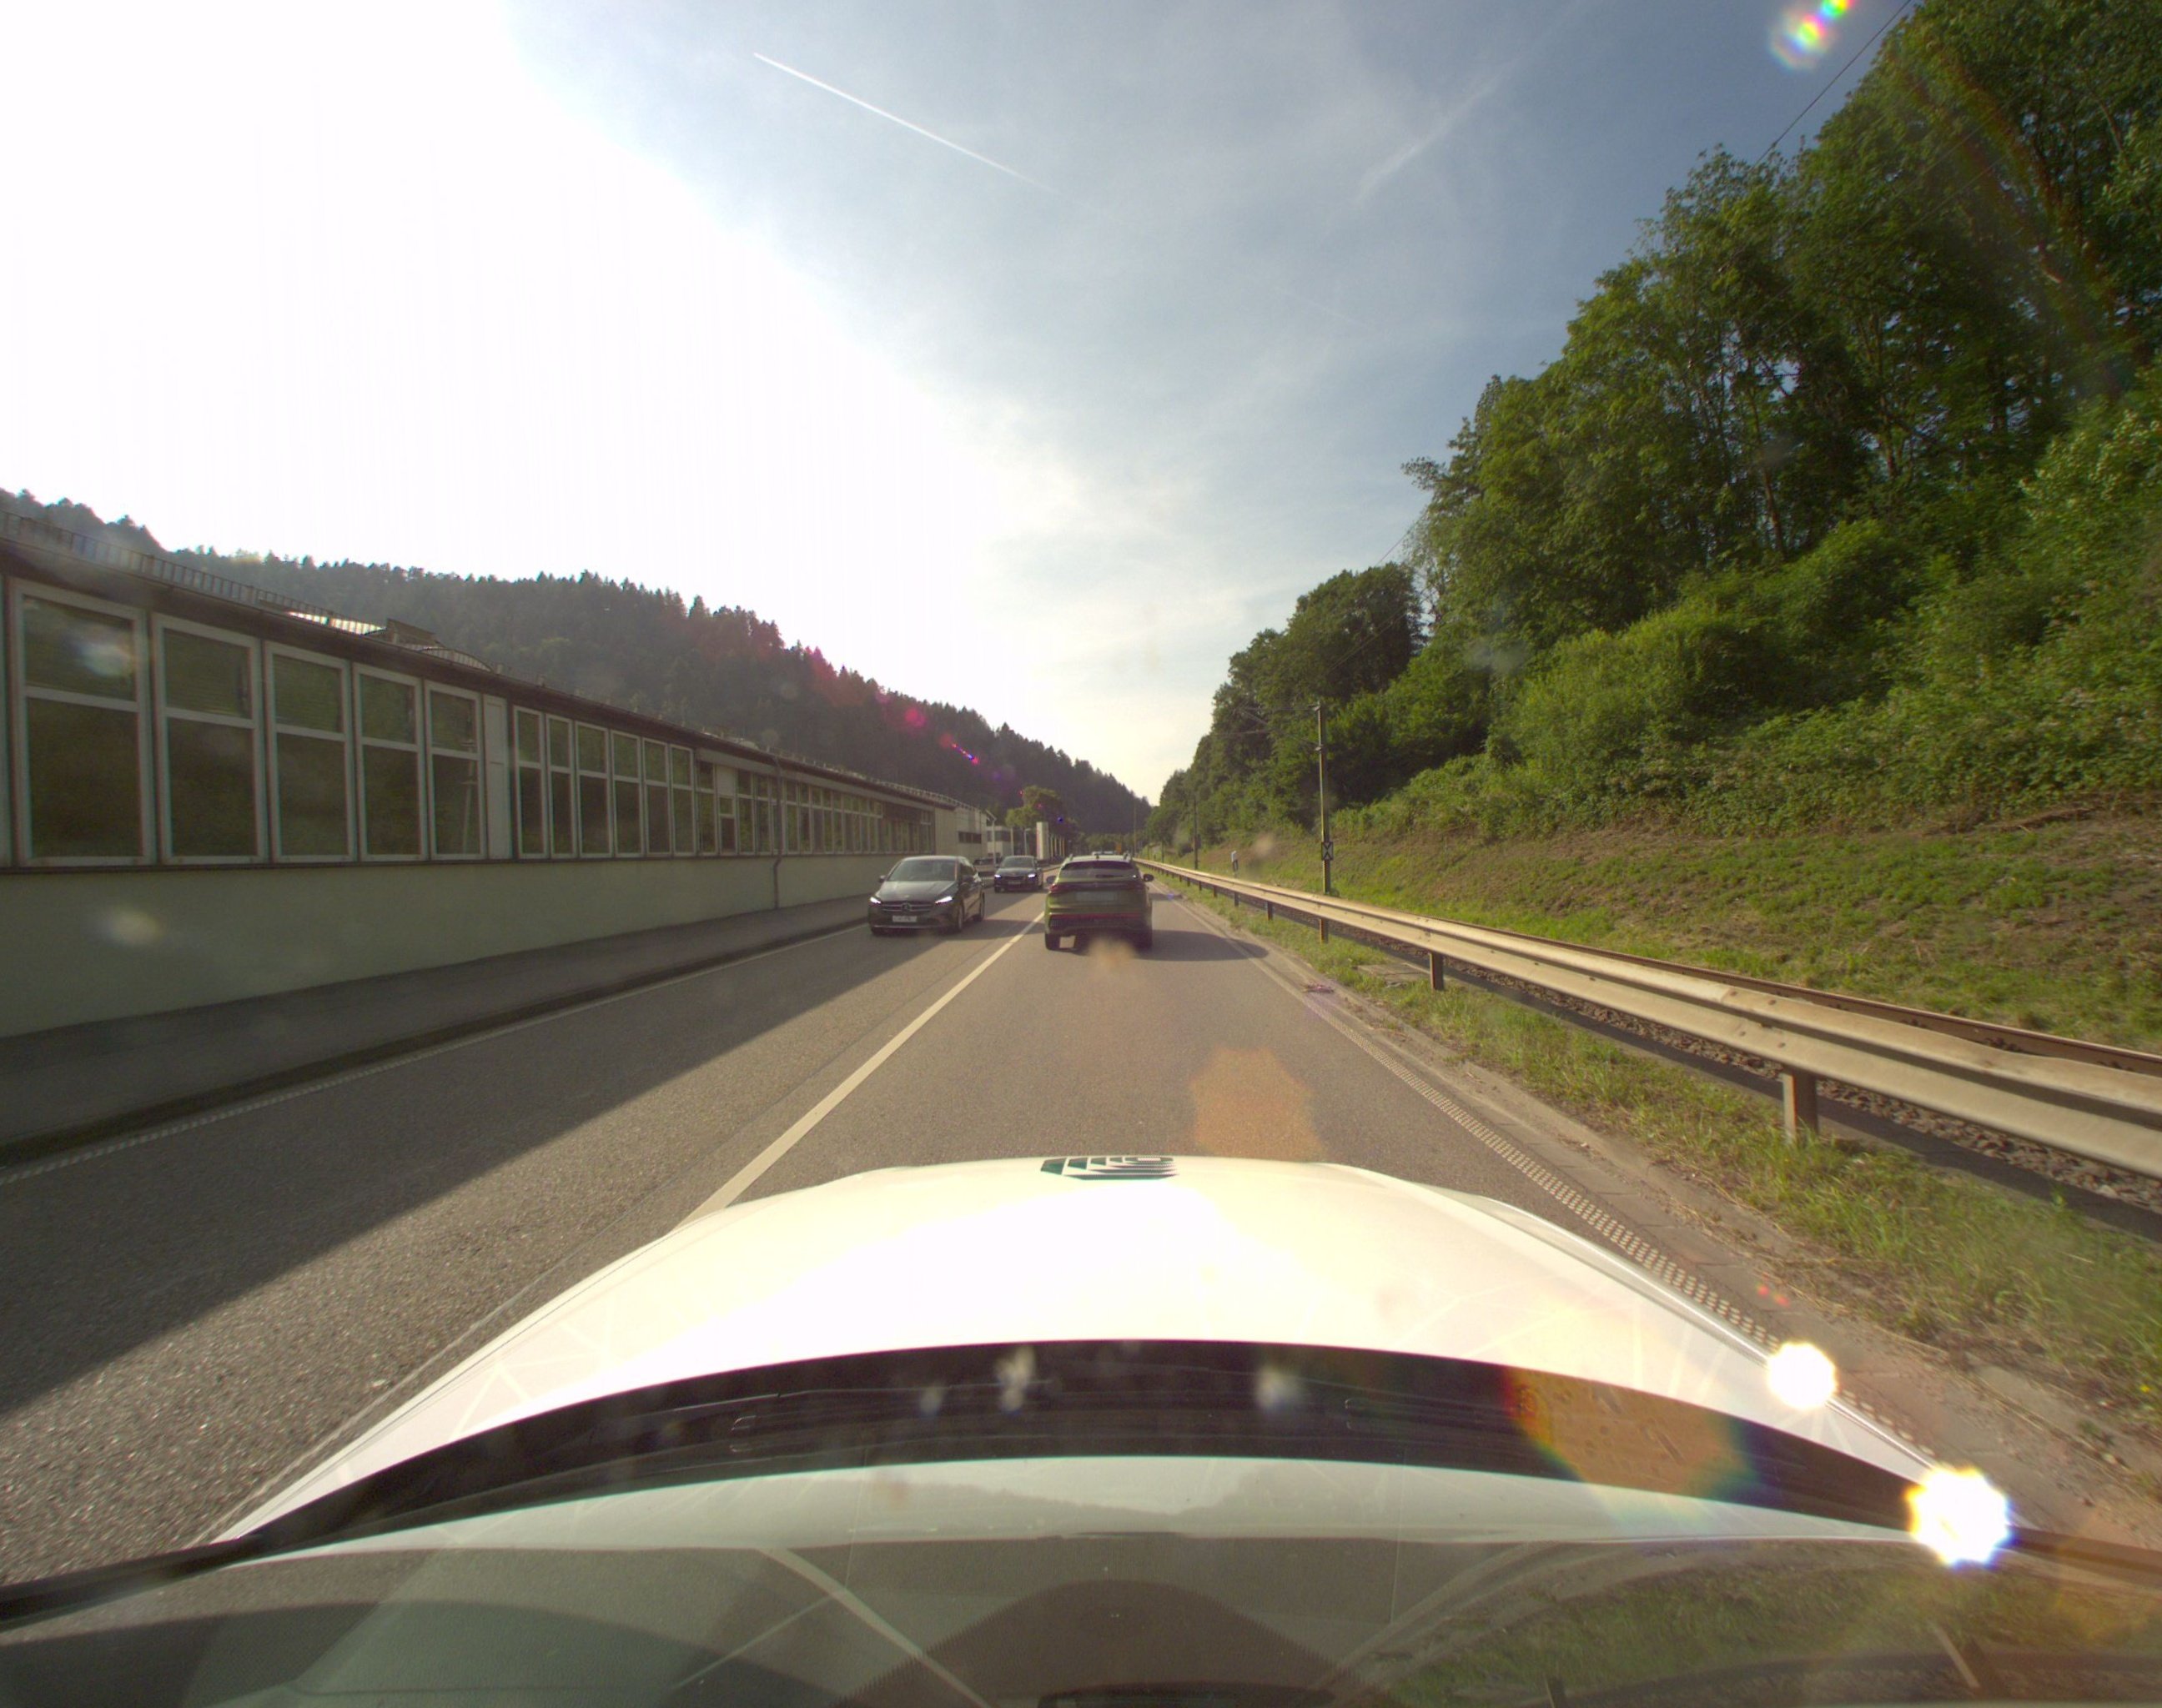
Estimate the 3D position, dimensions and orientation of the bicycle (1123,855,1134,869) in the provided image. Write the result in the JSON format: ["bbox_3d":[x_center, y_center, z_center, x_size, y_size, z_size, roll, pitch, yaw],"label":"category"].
[{"bbox_3d":[4.304,0.715,74.176,0.809,1.250,2.122,-2,0,0],"label":"bicycle"}]

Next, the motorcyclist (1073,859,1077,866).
[{"bbox_3d":[-0.982,1.295,128.071,0.583,1.124,0.637,-1,0,1],"label":"motorcyclist"}]

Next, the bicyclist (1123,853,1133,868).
[{"bbox_3d":[4.299,0.602,74.387,0.779,1.412,0.675,-2,0,0],"label":"bicyclist"}]

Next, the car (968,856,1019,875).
[{"bbox_3d":[-7.665,0.985,71.596,1.865,1.591,4.200,-2,0,43],"label":"car"}]

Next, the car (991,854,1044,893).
[{"bbox_3d":[-2.569,0.768,34.004,1.767,1.490,4.053,0,0,2],"label":"car"}]

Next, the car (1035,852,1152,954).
[{"bbox_3d":[0.230,0.737,14.274,1.733,1.508,4.001,-1,0,1],"label":"car"}]

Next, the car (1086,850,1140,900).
[{"bbox_3d":[1.087,0.700,28.766,1.733,1.602,4.001,-1,0,1],"label":"car"}]

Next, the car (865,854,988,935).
[{"bbox_3d":[-3.146,0.755,17.431,1.713,1.514,4.200,0,0,2],"label":"car"}]

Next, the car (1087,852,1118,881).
[{"bbox_3d":[1.244,0.688,47.861,1.733,1.602,4.001,-1,0,1],"label":"car"}]

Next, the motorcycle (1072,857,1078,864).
[{"bbox_3d":[-0.936,1.071,128.049,0.738,1.068,2.493,-1,0,2],"label":"motorcycle"}]
